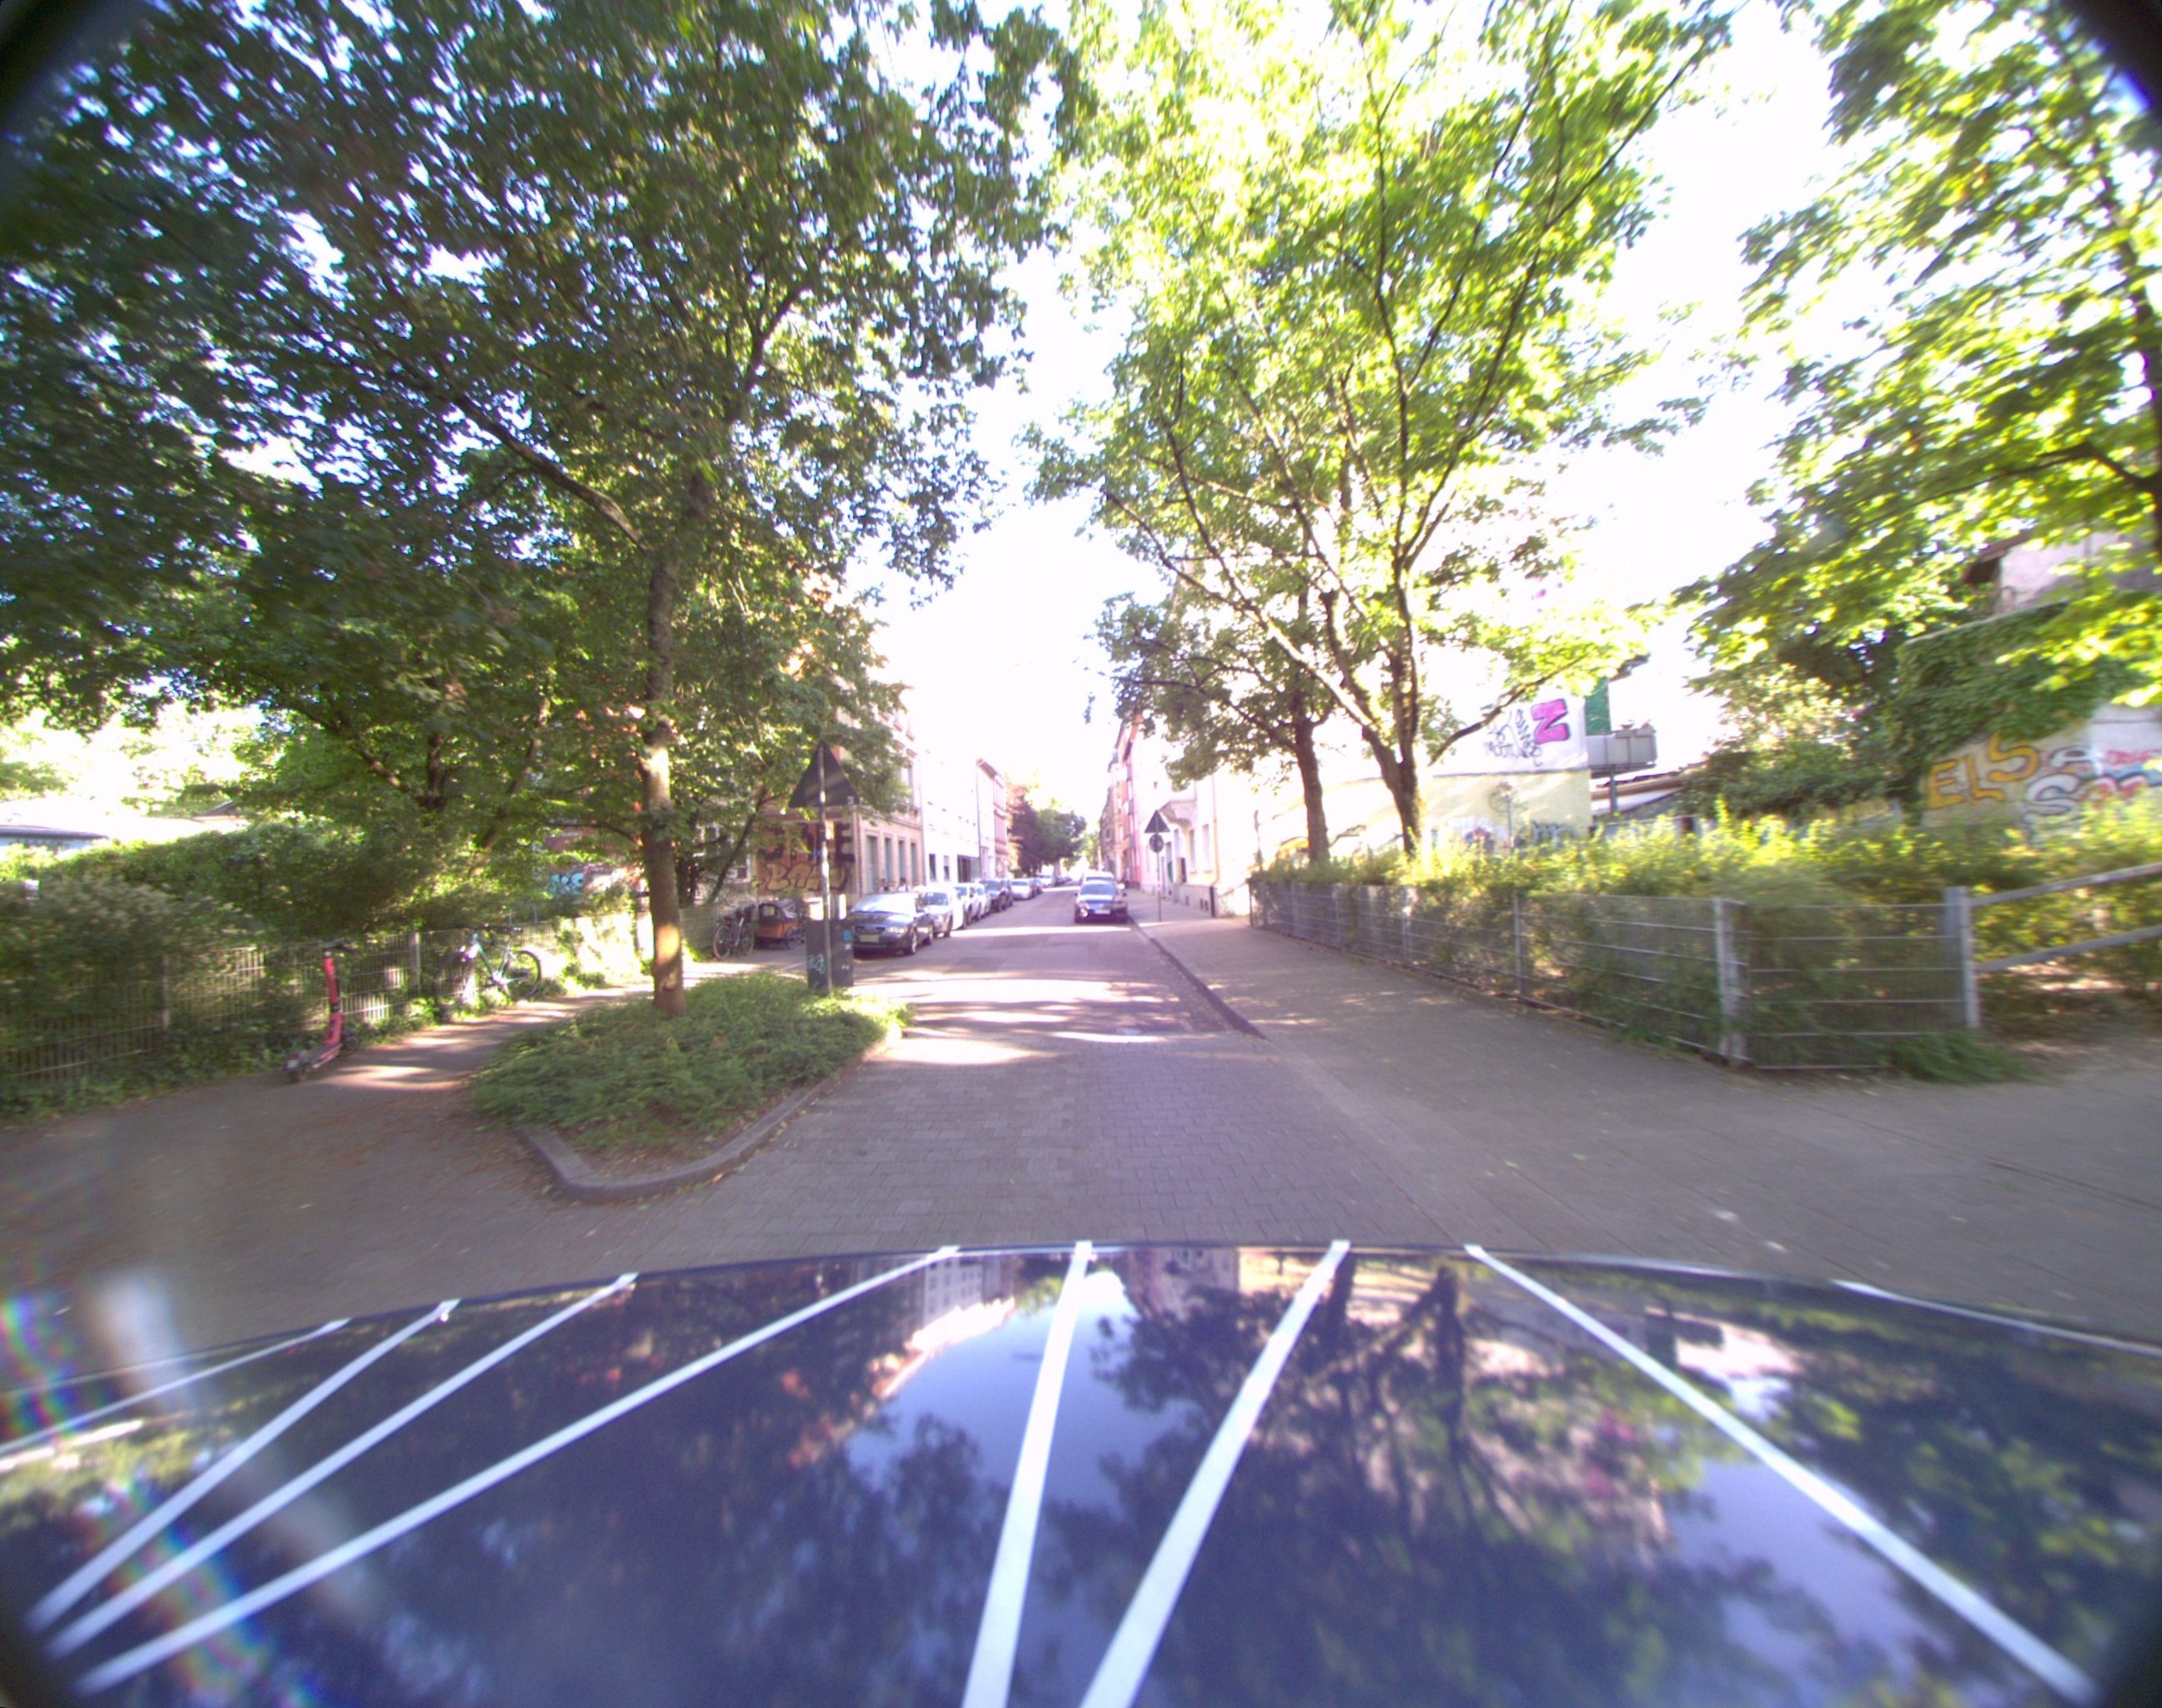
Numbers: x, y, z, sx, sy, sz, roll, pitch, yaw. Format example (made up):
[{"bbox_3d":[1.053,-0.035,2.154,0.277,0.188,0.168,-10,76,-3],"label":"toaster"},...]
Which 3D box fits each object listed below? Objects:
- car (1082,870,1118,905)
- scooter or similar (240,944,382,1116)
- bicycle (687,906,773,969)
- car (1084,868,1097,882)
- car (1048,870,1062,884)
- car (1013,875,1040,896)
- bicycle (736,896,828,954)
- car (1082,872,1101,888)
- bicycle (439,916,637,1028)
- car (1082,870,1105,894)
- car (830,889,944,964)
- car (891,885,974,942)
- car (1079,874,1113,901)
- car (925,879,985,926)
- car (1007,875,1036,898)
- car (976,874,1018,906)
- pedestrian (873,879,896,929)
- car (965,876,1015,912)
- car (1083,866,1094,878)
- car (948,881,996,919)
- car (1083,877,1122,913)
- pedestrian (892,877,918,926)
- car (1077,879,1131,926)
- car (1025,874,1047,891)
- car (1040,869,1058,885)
[{"bbox_3d":[0.962,1.713,40.322,1.754,1.730,4.315,0,-1,-1],"label":"car"},{"bbox_3d":[-6.993,1.528,6.973,0.547,1.254,1.470,-1,-1,-31],"label":"scooter or similar"},{"bbox_3d":[-7.593,1.779,16.546,0.849,1.193,1.982,-2,-1,2],"label":"bicycle"},{"bbox_3d":[1.335,2.881,103.847,1.768,1.845,3.994,0,-1,0],"label":"car"},{"bbox_3d":[-3.526,3.094,103.873,1.768,1.845,4.286,-2,-1,0],"label":"car"},{"bbox_3d":[-4.277,2.448,60.343,1.768,1.524,4.104,-1,-1,0],"label":"car"},{"bbox_3d":[-7.479,1.754,19.190,1.293,1.294,2.328,-1,-1,3],"label":"bicycle"},{"bbox_3d":[1.016,2.521,74.935,1.768,1.524,4.104,0,-1,0],"label":"car"},{"bbox_3d":[-7.726,1.620,11.051,0.849,1.260,2.693,-2,-1,2],"label":"bicycle"},{"bbox_3d":[0.942,2.170,59.720,1.768,1.813,4.104,0,-1,0],"label":"car"},{"bbox_3d":[-4.621,1.680,18.764,1.725,1.485,4.414,-1,-1,-1],"label":"car"},{"bbox_3d":[-4.539,1.790,23.820,1.663,1.485,4.354,-1,-1,1],"label":"car"},{"bbox_3d":[0.938,1.954,45.257,1.674,1.518,4.087,0,-1,6],"label":"car"},{"bbox_3d":[-4.727,1.794,28.872,1.597,1.575,3.764,-1,-1,0],"label":"car"},{"bbox_3d":[-4.289,2.342,55.557,1.768,1.508,4.104,0,-1,0],"label":"car"},{"bbox_3d":[-4.738,2.016,43.184,1.886,1.657,4.328,0,-1,0],"label":"car"},{"bbox_3d":[-6.857,1.735,26.588,0.599,1.699,0.706,1,-1,0],"label":"pedestrian"},{"bbox_3d":[-4.489,1.953,38.018,1.770,1.656,4.329,-2,-1,2],"label":"car"},{"bbox_3d":[1.274,2.940,124.627,1.768,2.074,4.264,0,-1,0],"label":"car"},{"bbox_3d":[-4.715,1.965,33.205,1.598,1.442,4.003,-1,-1,-2],"label":"car"},{"bbox_3d":[0.943,1.740,33.077,1.597,1.442,3.486,0,-1,2],"label":"car"},{"bbox_3d":[-6.197,1.675,26.843,0.712,1.699,0.752,1,-1,0],"label":"pedestrian"},{"bbox_3d":[0.756,1.658,26.968,1.783,1.435,4.393,0,-1,0],"label":"car"},{"bbox_3d":[-4.143,2.598,69.959,1.768,1.524,4.104,0,-1,0],"label":"car"},{"bbox_3d":[-4.054,2.900,97.275,1.866,1.969,4.482,0,-1,4],"label":"car"}]
